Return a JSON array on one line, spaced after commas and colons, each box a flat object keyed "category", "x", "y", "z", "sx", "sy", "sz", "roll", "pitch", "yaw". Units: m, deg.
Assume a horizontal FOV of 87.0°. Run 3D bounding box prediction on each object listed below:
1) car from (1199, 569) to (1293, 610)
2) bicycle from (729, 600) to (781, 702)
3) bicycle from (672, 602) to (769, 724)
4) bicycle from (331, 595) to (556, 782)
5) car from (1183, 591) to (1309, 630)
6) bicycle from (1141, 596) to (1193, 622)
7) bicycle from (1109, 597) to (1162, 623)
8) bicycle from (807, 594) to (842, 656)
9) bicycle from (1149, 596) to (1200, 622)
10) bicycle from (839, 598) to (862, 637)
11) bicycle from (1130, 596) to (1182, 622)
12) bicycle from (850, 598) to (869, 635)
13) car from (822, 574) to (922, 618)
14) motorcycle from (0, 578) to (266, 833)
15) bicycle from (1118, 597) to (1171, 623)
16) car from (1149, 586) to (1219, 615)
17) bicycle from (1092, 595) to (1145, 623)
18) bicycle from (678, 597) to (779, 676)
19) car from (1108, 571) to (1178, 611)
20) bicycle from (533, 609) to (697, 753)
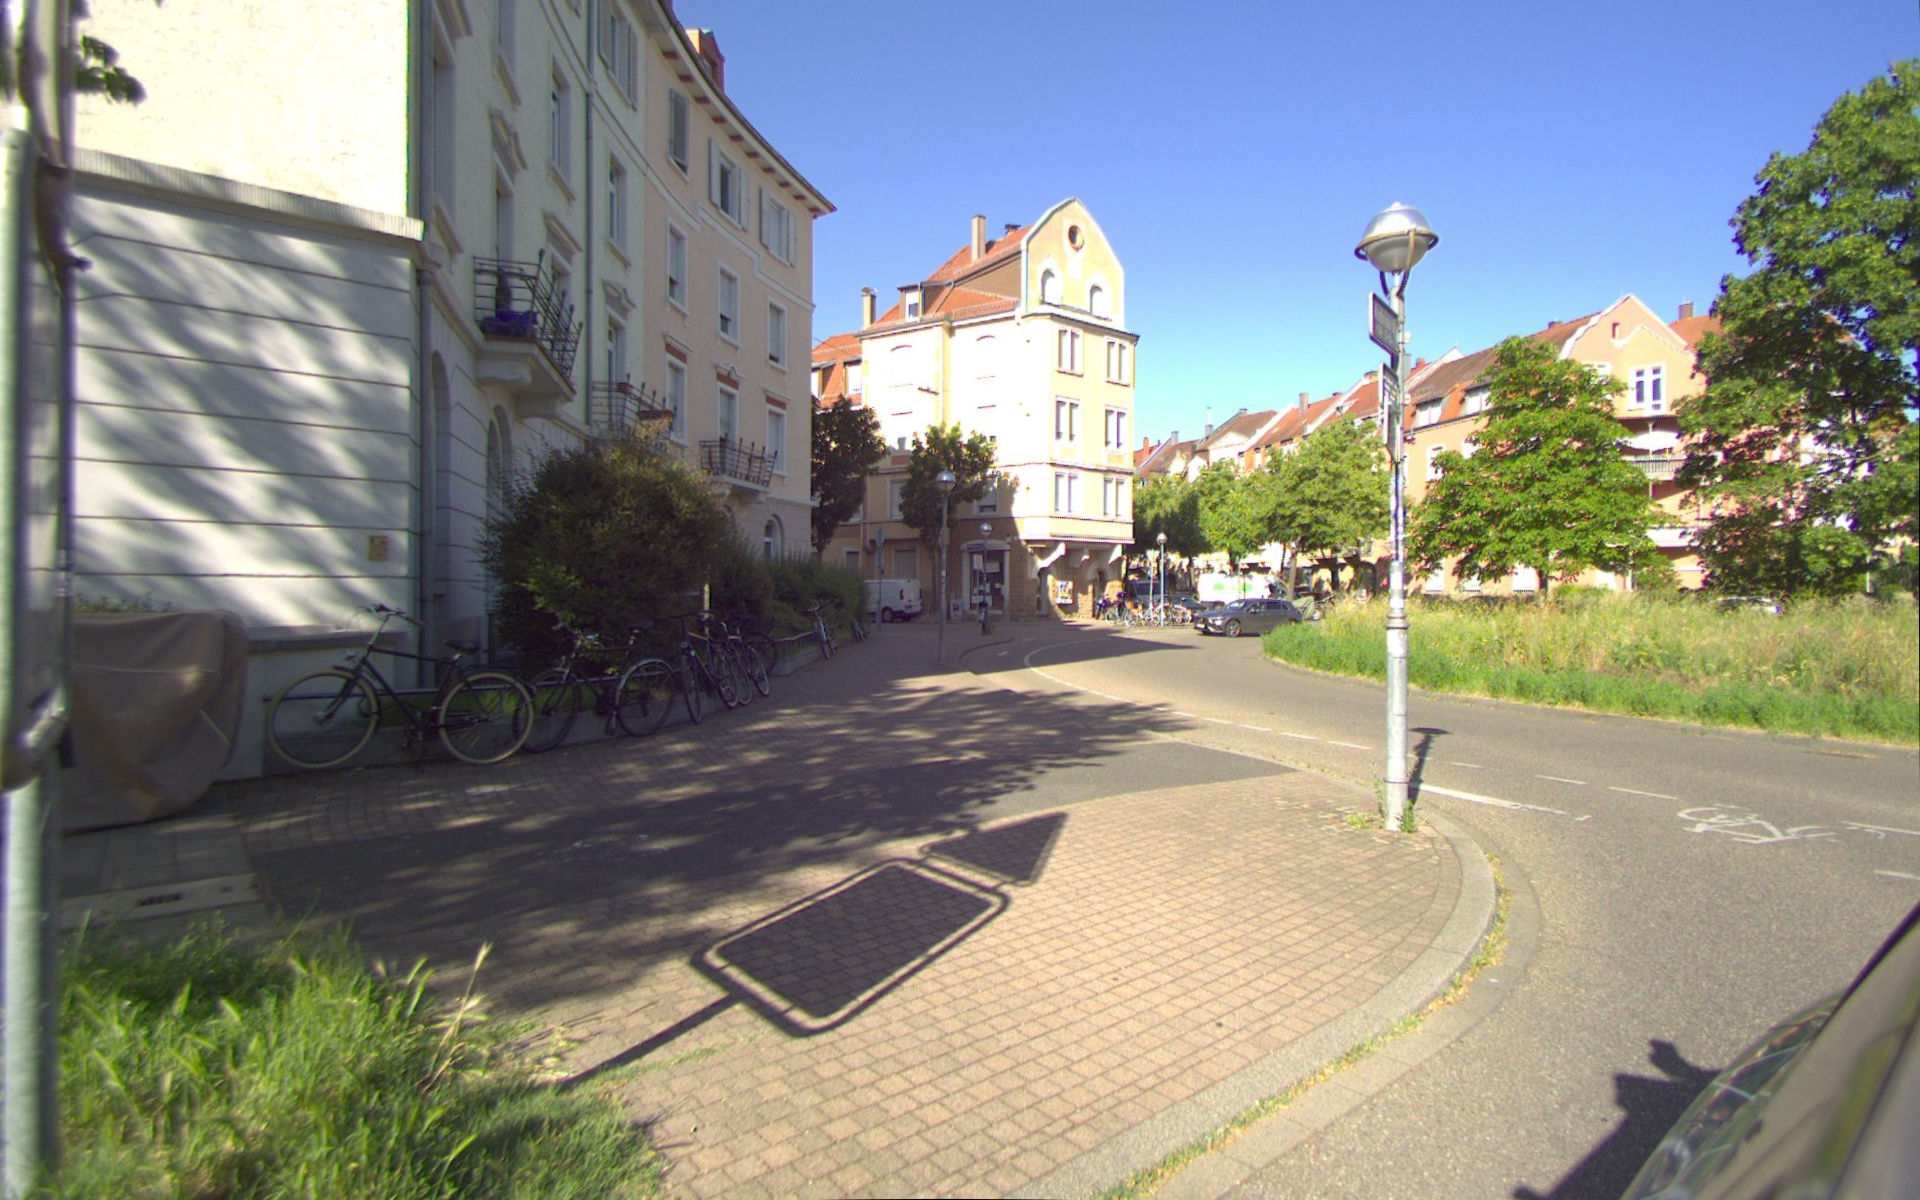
[{"category": "car", "x": 17.186, "y": -0.643, "z": 60.843, "sx": 5.147, "sy": 2.391, "sz": 2.017, "roll": 0, "pitch": 0, "yaw": 29}, {"category": "bicycle", "x": -2.522, "y": 0.589, "z": 12.551, "sx": 0.359, "sy": 1.163, "sz": 1.638, "roll": 0, "pitch": 0, "yaw": -2}, {"category": "bicycle", "x": -2.509, "y": 0.612, "z": 10.769, "sx": 0.437, "sy": 1.163, "sz": 1.776, "roll": 0, "pitch": 0, "yaw": 6}, {"category": "bicycle", "x": -3.825, "y": 0.606, "z": 7.594, "sx": 0.325, "sy": 1.253, "sz": 1.481, "roll": 1, "pitch": 1, "yaw": 42}, {"category": "car", "x": 10.852, "y": 0.375, "z": 38.438, "sx": 4.314, "sy": 1.425, "sz": 1.852, "roll": 0, "pitch": 0, "yaw": -18}, {"category": "bicycle", "x": 8.997, "y": 0.372, "z": 44.103, "sx": 0.642, "sy": 1.066, "sz": 2.364, "roll": 0, "pitch": 1, "yaw": -39}, {"category": "bicycle", "x": 7.405, "y": 0.397, "z": 42.708, "sx": 0.642, "sy": 1.066, "sz": 2.364, "roll": 0, "pitch": 1, "yaw": -39}, {"category": "bicycle", "x": -2.733, "y": 0.483, "z": 20.520, "sx": 0.427, "sy": 1.169, "sz": 1.670, "roll": 2, "pitch": 0, "yaw": 1}, {"category": "bicycle", "x": 9.455, "y": 0.382, "z": 44.689, "sx": 0.642, "sy": 1.066, "sz": 2.364, "roll": 0, "pitch": 1, "yaw": -39}, {"category": "bicycle", "x": -2.921, "y": 0.455, "z": 26.984, "sx": 0.371, "sy": 1.007, "sz": 1.390, "roll": 0, "pitch": 0, "yaw": 4}, {"category": "bicycle", "x": 8.447, "y": 0.362, "z": 43.683, "sx": 0.642, "sy": 1.066, "sz": 2.364, "roll": 0, "pitch": 0, "yaw": -39}, {"category": "bicycle", "x": -2.864, "y": 0.468, "z": 28.986, "sx": 0.371, "sy": 1.007, "sz": 1.391, "roll": 0, "pitch": 0, "yaw": 1}, {"category": "car", "x": -4.120, "y": -0.188, "z": 47.354, "sx": 4.409, "sy": 1.965, "sz": 1.879, "roll": 0, "pitch": 0, "yaw": 29}, {"category": "motorcycle", "x": -5.229, "y": 0.552, "z": 5.888, "sx": 0.971, "sy": 1.345, "sz": 1.823, "roll": 0, "pitch": 0, "yaw": 44}, {"category": "bicycle", "x": 7.869, "y": 0.417, "z": 43.246, "sx": 0.642, "sy": 1.028, "sz": 2.364, "roll": 1, "pitch": 0, "yaw": -39}, {"category": "car", "x": 11.441, "y": -0.003, "z": 51.965, "sx": 1.958, "sy": 1.461, "sz": 4.008, "roll": 0, "pitch": 1, "yaw": -13}, {"category": "bicycle", "x": 6.602, "y": 0.364, "z": 42.252, "sx": 0.642, "sy": 1.066, "sz": 2.364, "roll": 4, "pitch": -2, "yaw": -39}, {"category": "bicycle", "x": -3.531, "y": 0.547, "z": 15.459, "sx": 1.480, "sy": 1.169, "sz": 0.436, "roll": 0, "pitch": 0, "yaw": -11}, {"category": "car", "x": 10.253, "y": -0.505, "z": 57.098, "sx": 2.207, "sy": 2.146, "sz": 4.810, "roll": 0, "pitch": 1, "yaw": -12}, {"category": "bicycle", "x": -3.013, "y": 0.666, "z": 8.980, "sx": 0.348, "sy": 1.117, "sz": 1.557, "roll": 0, "pitch": 1, "yaw": 28}]
